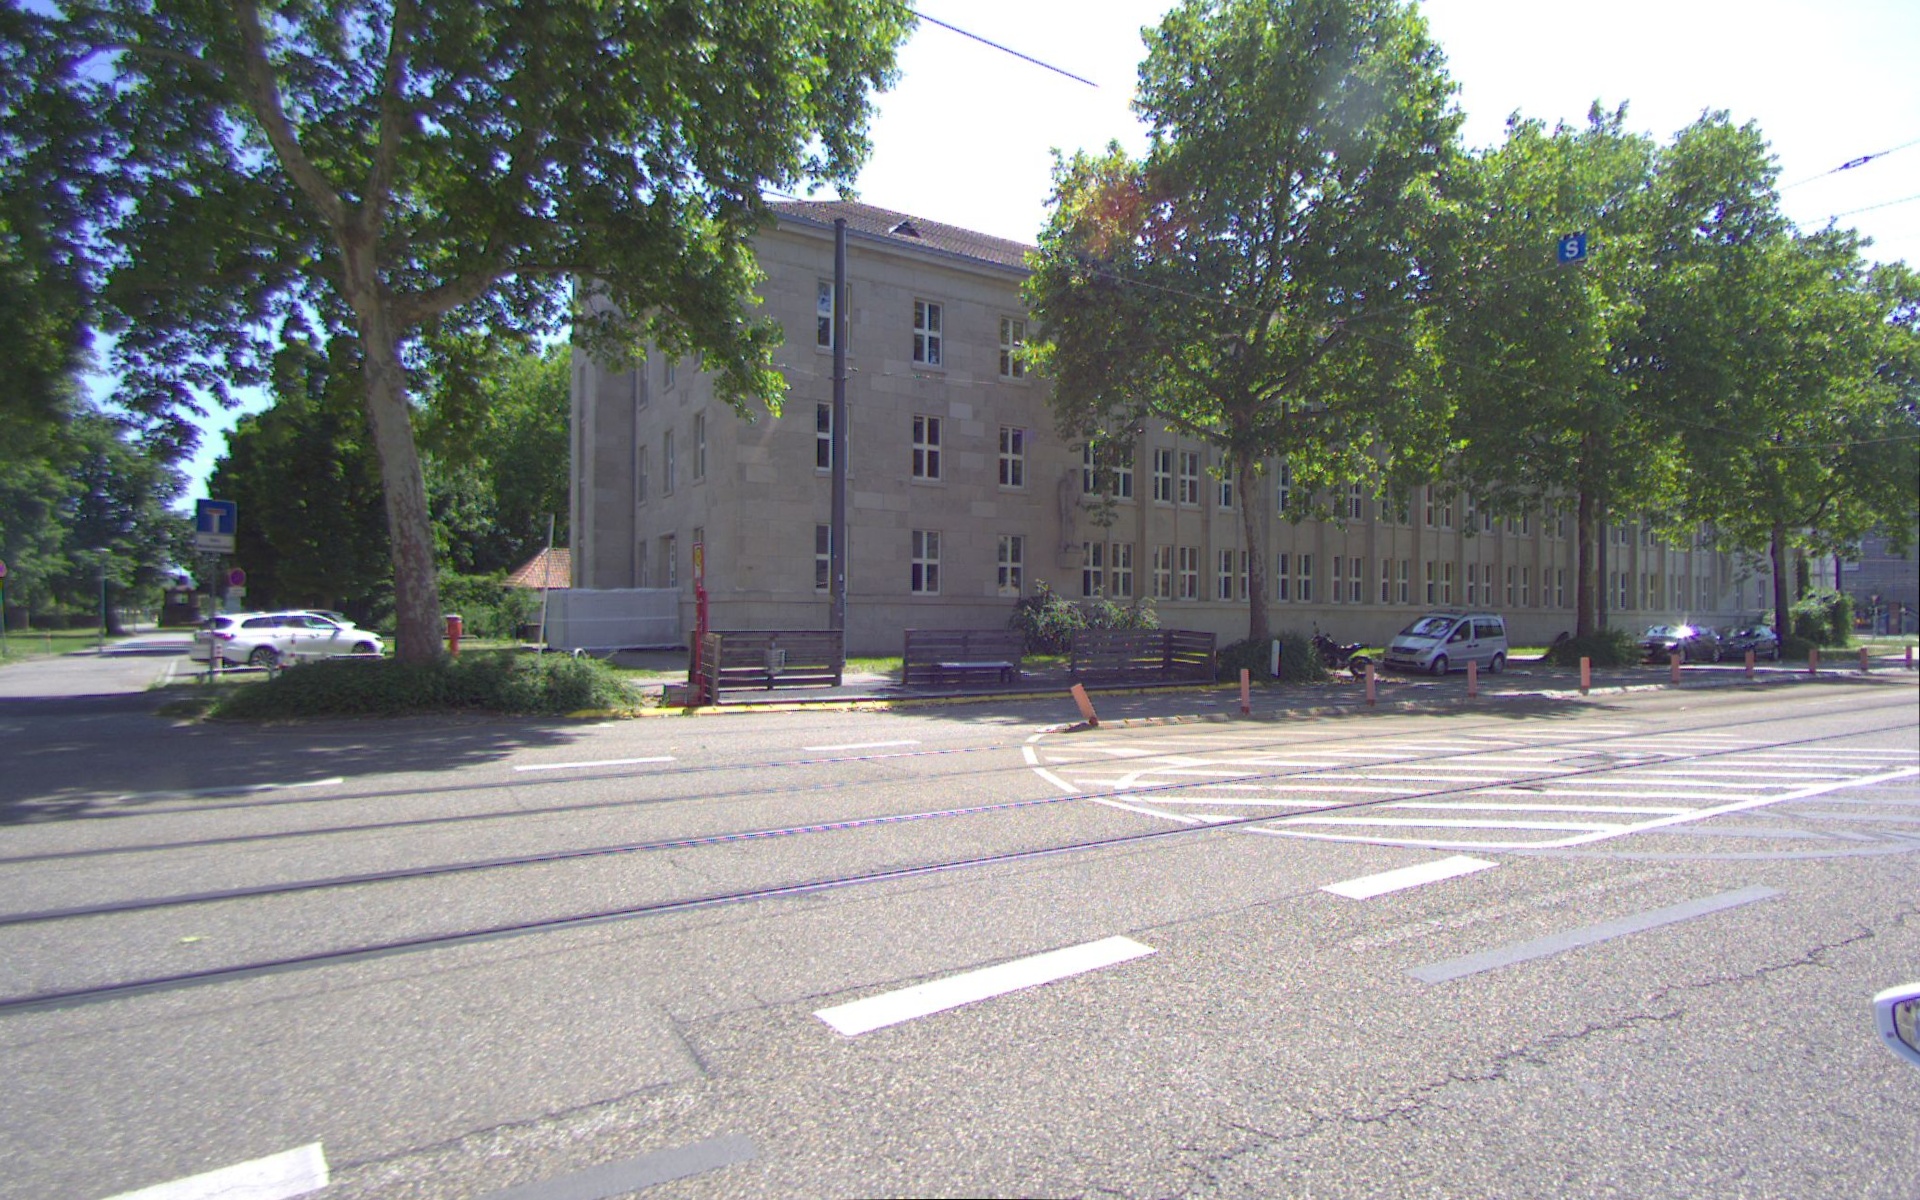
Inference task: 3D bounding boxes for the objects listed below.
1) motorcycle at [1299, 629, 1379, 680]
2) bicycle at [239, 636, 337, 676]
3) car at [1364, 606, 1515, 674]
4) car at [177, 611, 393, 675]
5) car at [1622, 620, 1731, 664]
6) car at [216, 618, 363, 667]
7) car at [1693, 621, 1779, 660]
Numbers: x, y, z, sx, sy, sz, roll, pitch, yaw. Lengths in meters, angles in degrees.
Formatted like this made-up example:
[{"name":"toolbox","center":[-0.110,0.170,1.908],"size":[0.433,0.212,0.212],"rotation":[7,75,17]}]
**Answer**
[{"name":"motorcycle","center":[10.208,1.448,27.047],"size":[1.838,1.082,0.726],"rotation":[7,3,28]},{"name":"bicycle","center":[-16.573,1.364,24.809],"size":[0.634,0.913,1.901],"rotation":[1,0,37]},{"name":"car","center":[14.160,1.138,29.653],"size":[4.250,1.835,1.984],"rotation":[1,0,-30]},{"name":"car","center":[-18.000,1.077,27.066],"size":[1.878,1.528,4.533],"rotation":[1,0,23]},{"name":"car","center":[26.435,1.513,37.042],"size":[4.274,1.503,1.753],"rotation":[1,0,-32]},{"name":"car","center":[-21.479,1.309,32.306],"size":[1.689,1.395,3.591],"rotation":[1,0,26]},{"name":"car","center":[30.992,1.601,40.081],"size":[4.281,1.443,1.577],"rotation":[1,0,-36]}]
